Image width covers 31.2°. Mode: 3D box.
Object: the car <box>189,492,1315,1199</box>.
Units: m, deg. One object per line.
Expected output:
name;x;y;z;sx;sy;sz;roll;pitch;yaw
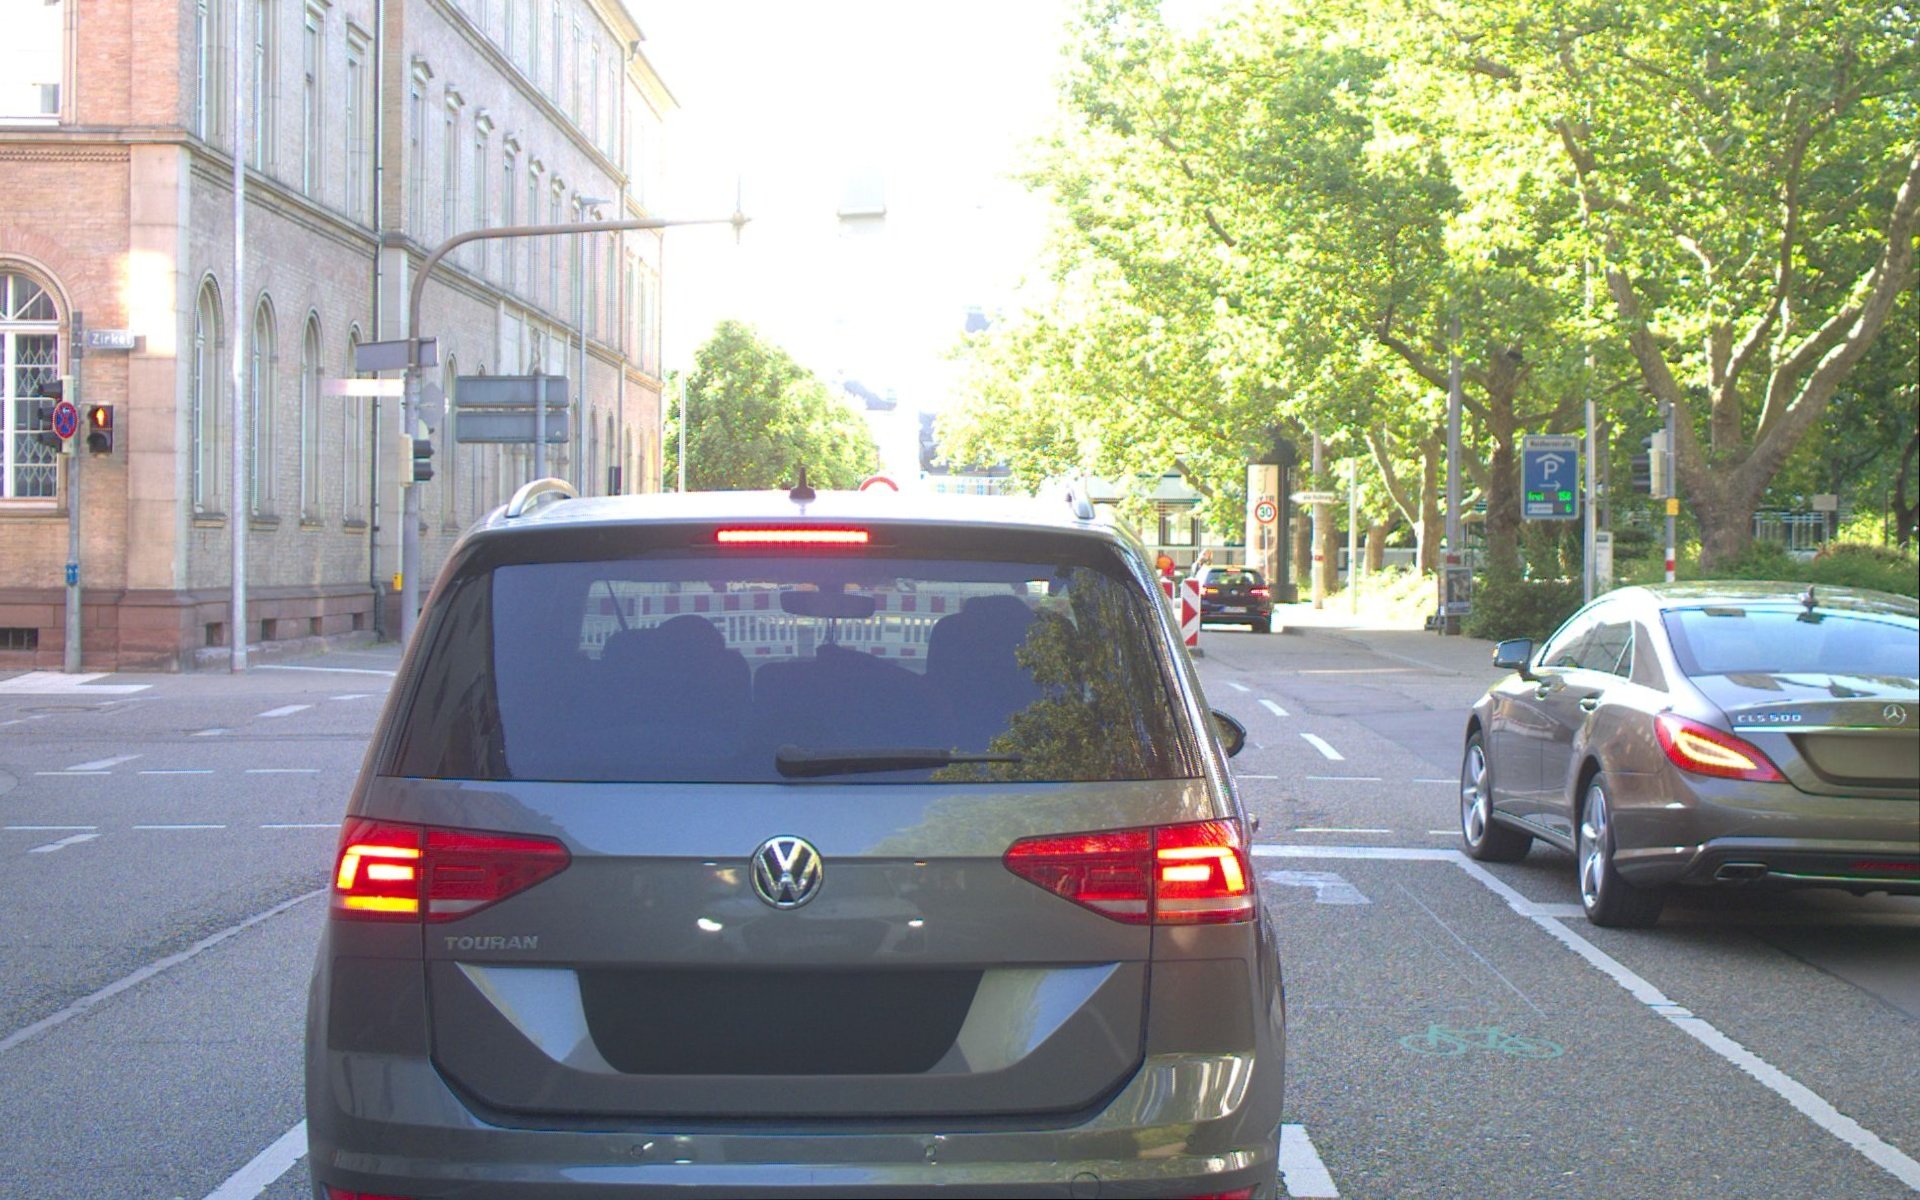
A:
car;-0.269;0.612;7.524;1.809;1.607;4.000;0;1;2

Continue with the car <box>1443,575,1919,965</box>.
car;3.437;0.632;15.200;1.843;1.424;4.518;1;1;-1

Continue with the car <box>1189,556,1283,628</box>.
car;6.041;-0.191;75.598;1.689;1.435;3.902;4;1;1
